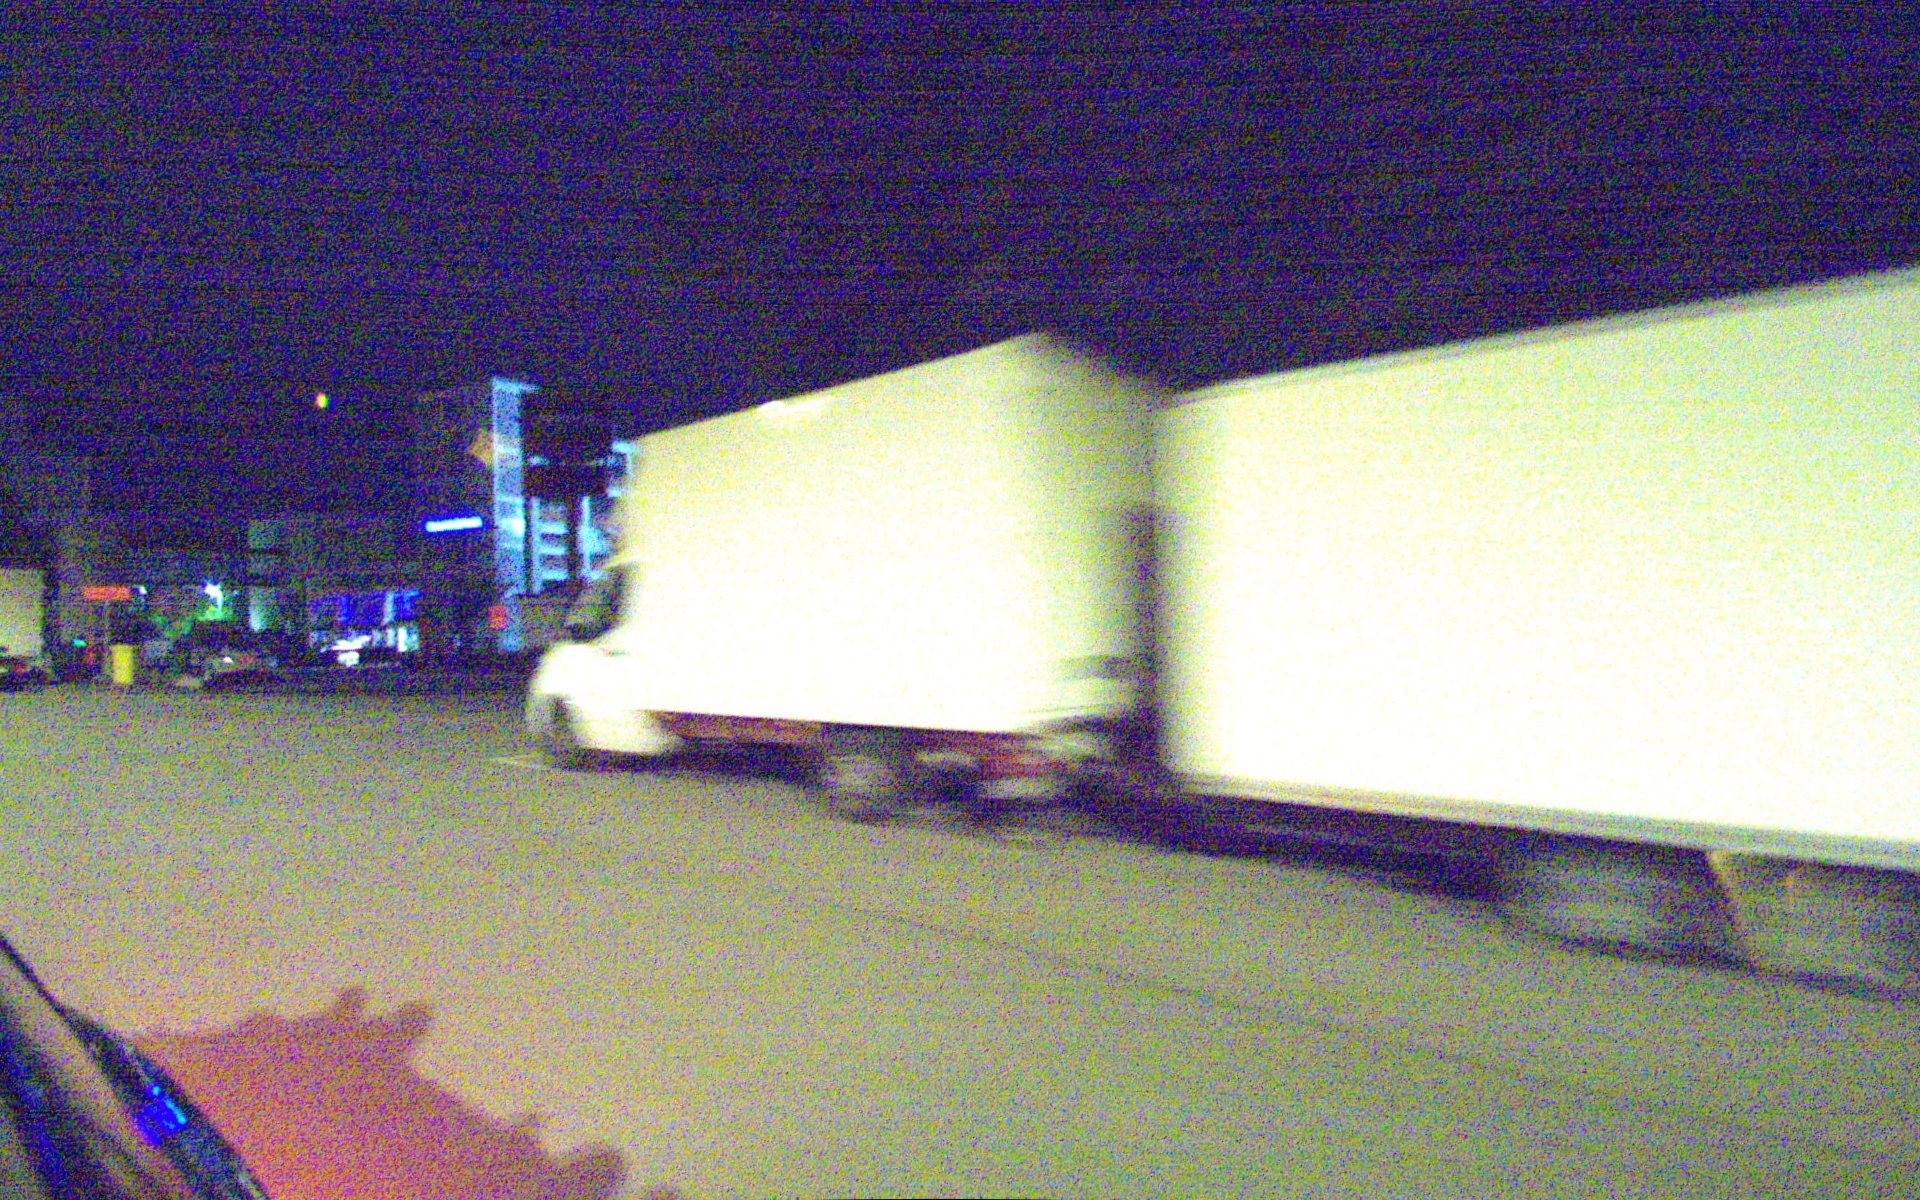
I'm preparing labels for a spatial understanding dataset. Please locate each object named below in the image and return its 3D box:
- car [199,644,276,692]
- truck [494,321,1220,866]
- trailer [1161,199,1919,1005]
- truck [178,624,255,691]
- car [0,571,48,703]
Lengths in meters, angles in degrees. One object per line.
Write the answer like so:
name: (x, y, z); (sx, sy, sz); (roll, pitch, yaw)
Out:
car: (-26.695, 2.461, 37.341); (1.835, 1.652, 4.005); (2, -3, -42)
truck: (-1.495, 0.059, 9.335); (7.227, 3.268, 2.348); (-2, -2, 41)
trailer: (3.559, 0.031, 4.785); (4.612, 2.817, 2.182); (-2, -2, 40)
truck: (-32.036, 2.411, 43.495); (2.106, 2.633, 7.109); (2, -3, -41)
car: (-26.974, 0.990, 26.350); (7.195, 3.268, 2.368); (-2, -2, 27)
